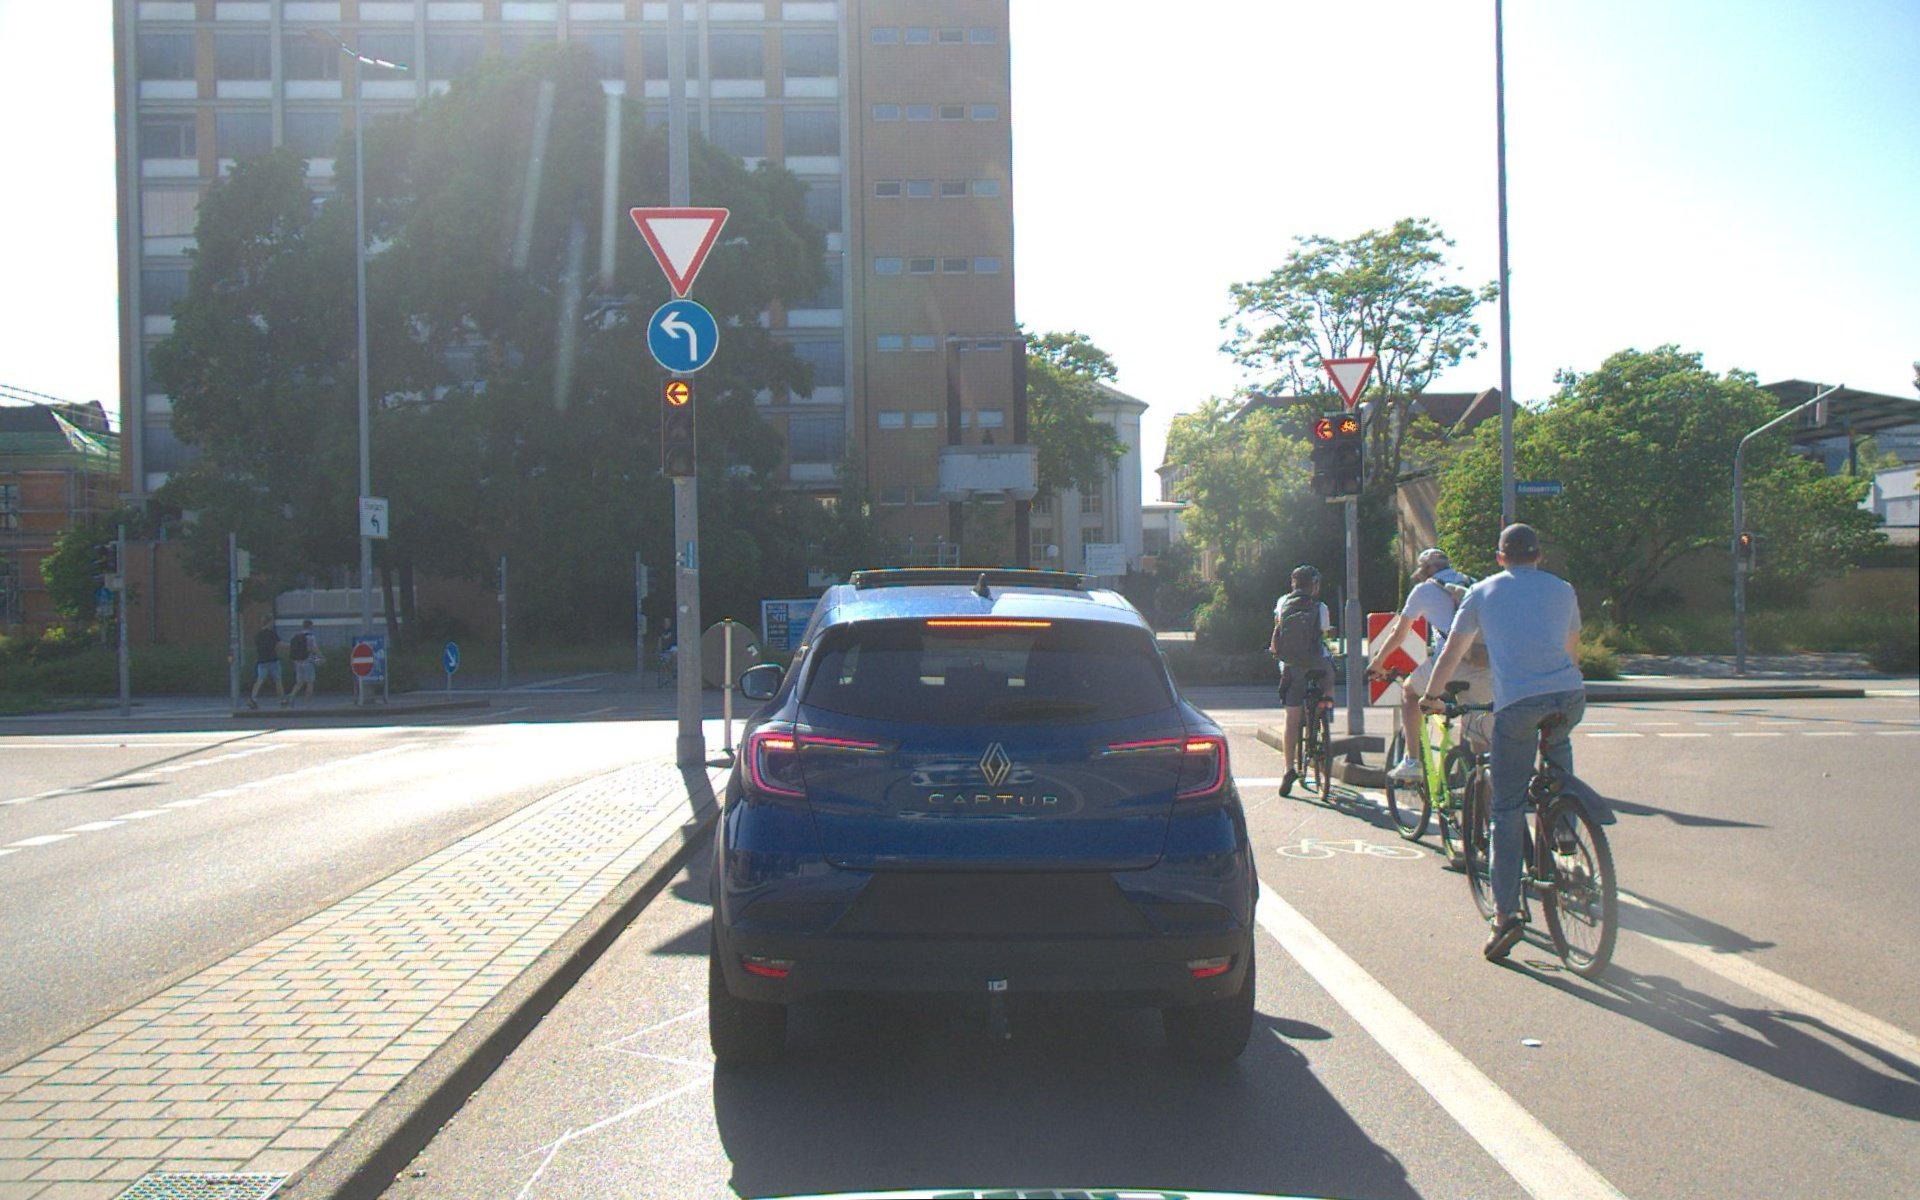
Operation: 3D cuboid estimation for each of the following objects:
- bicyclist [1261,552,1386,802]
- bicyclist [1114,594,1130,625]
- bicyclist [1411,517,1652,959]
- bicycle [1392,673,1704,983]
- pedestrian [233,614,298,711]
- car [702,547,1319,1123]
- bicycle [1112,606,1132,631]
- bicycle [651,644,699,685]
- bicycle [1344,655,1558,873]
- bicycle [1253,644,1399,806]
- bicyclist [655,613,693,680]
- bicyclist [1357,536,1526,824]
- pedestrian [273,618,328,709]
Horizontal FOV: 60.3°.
[{"bbox_3d":[2.752,0.561,12.610,0.685,1.822,1.142,0,0,-1],"label":"bicyclist"},{"bbox_3d":[7.879,0.457,80.300,0.680,1.507,0.717,-1,0,-2],"label":"bicyclist"},{"bbox_3d":[2.514,0.568,7.393,0.669,1.822,1.142,0,0,-1],"label":"bicyclist"},{"bbox_3d":[2.514,0.921,7.325,0.675,1.108,1.922,0,0,-1],"label":"bicycle"},{"bbox_3d":[-13.859,1.240,33.031,0.796,1.895,0.910,-1,0,13],"label":"pedestrian"},{"bbox_3d":[0.064,0.664,6.642,1.753,1.613,3.912,0,0,-3],"label":"car"},{"bbox_3d":[7.881,0.893,80.520,0.680,1.160,2.440,-1,0,-1],"label":"bicycle"},{"bbox_3d":[-7.521,1.699,43.768,0.739,1.002,2.095,-1,0,5],"label":"bicycle"},{"bbox_3d":[2.855,0.911,9.829,0.675,1.108,1.922,0,0,-1],"label":"bicycle"},{"bbox_3d":[2.794,0.920,12.818,0.675,1.108,1.922,0,0,-1],"label":"bicycle"},{"bbox_3d":[-7.539,1.217,43.665,0.739,1.746,0.999,-1,0,5],"label":"bicyclist"},{"bbox_3d":[2.852,0.450,9.903,0.664,1.622,1.142,0,0,-1],"label":"bicyclist"},{"bbox_3d":[-13.003,1.251,32.637,0.666,1.761,0.761,-1,0,13],"label":"pedestrian"}]
